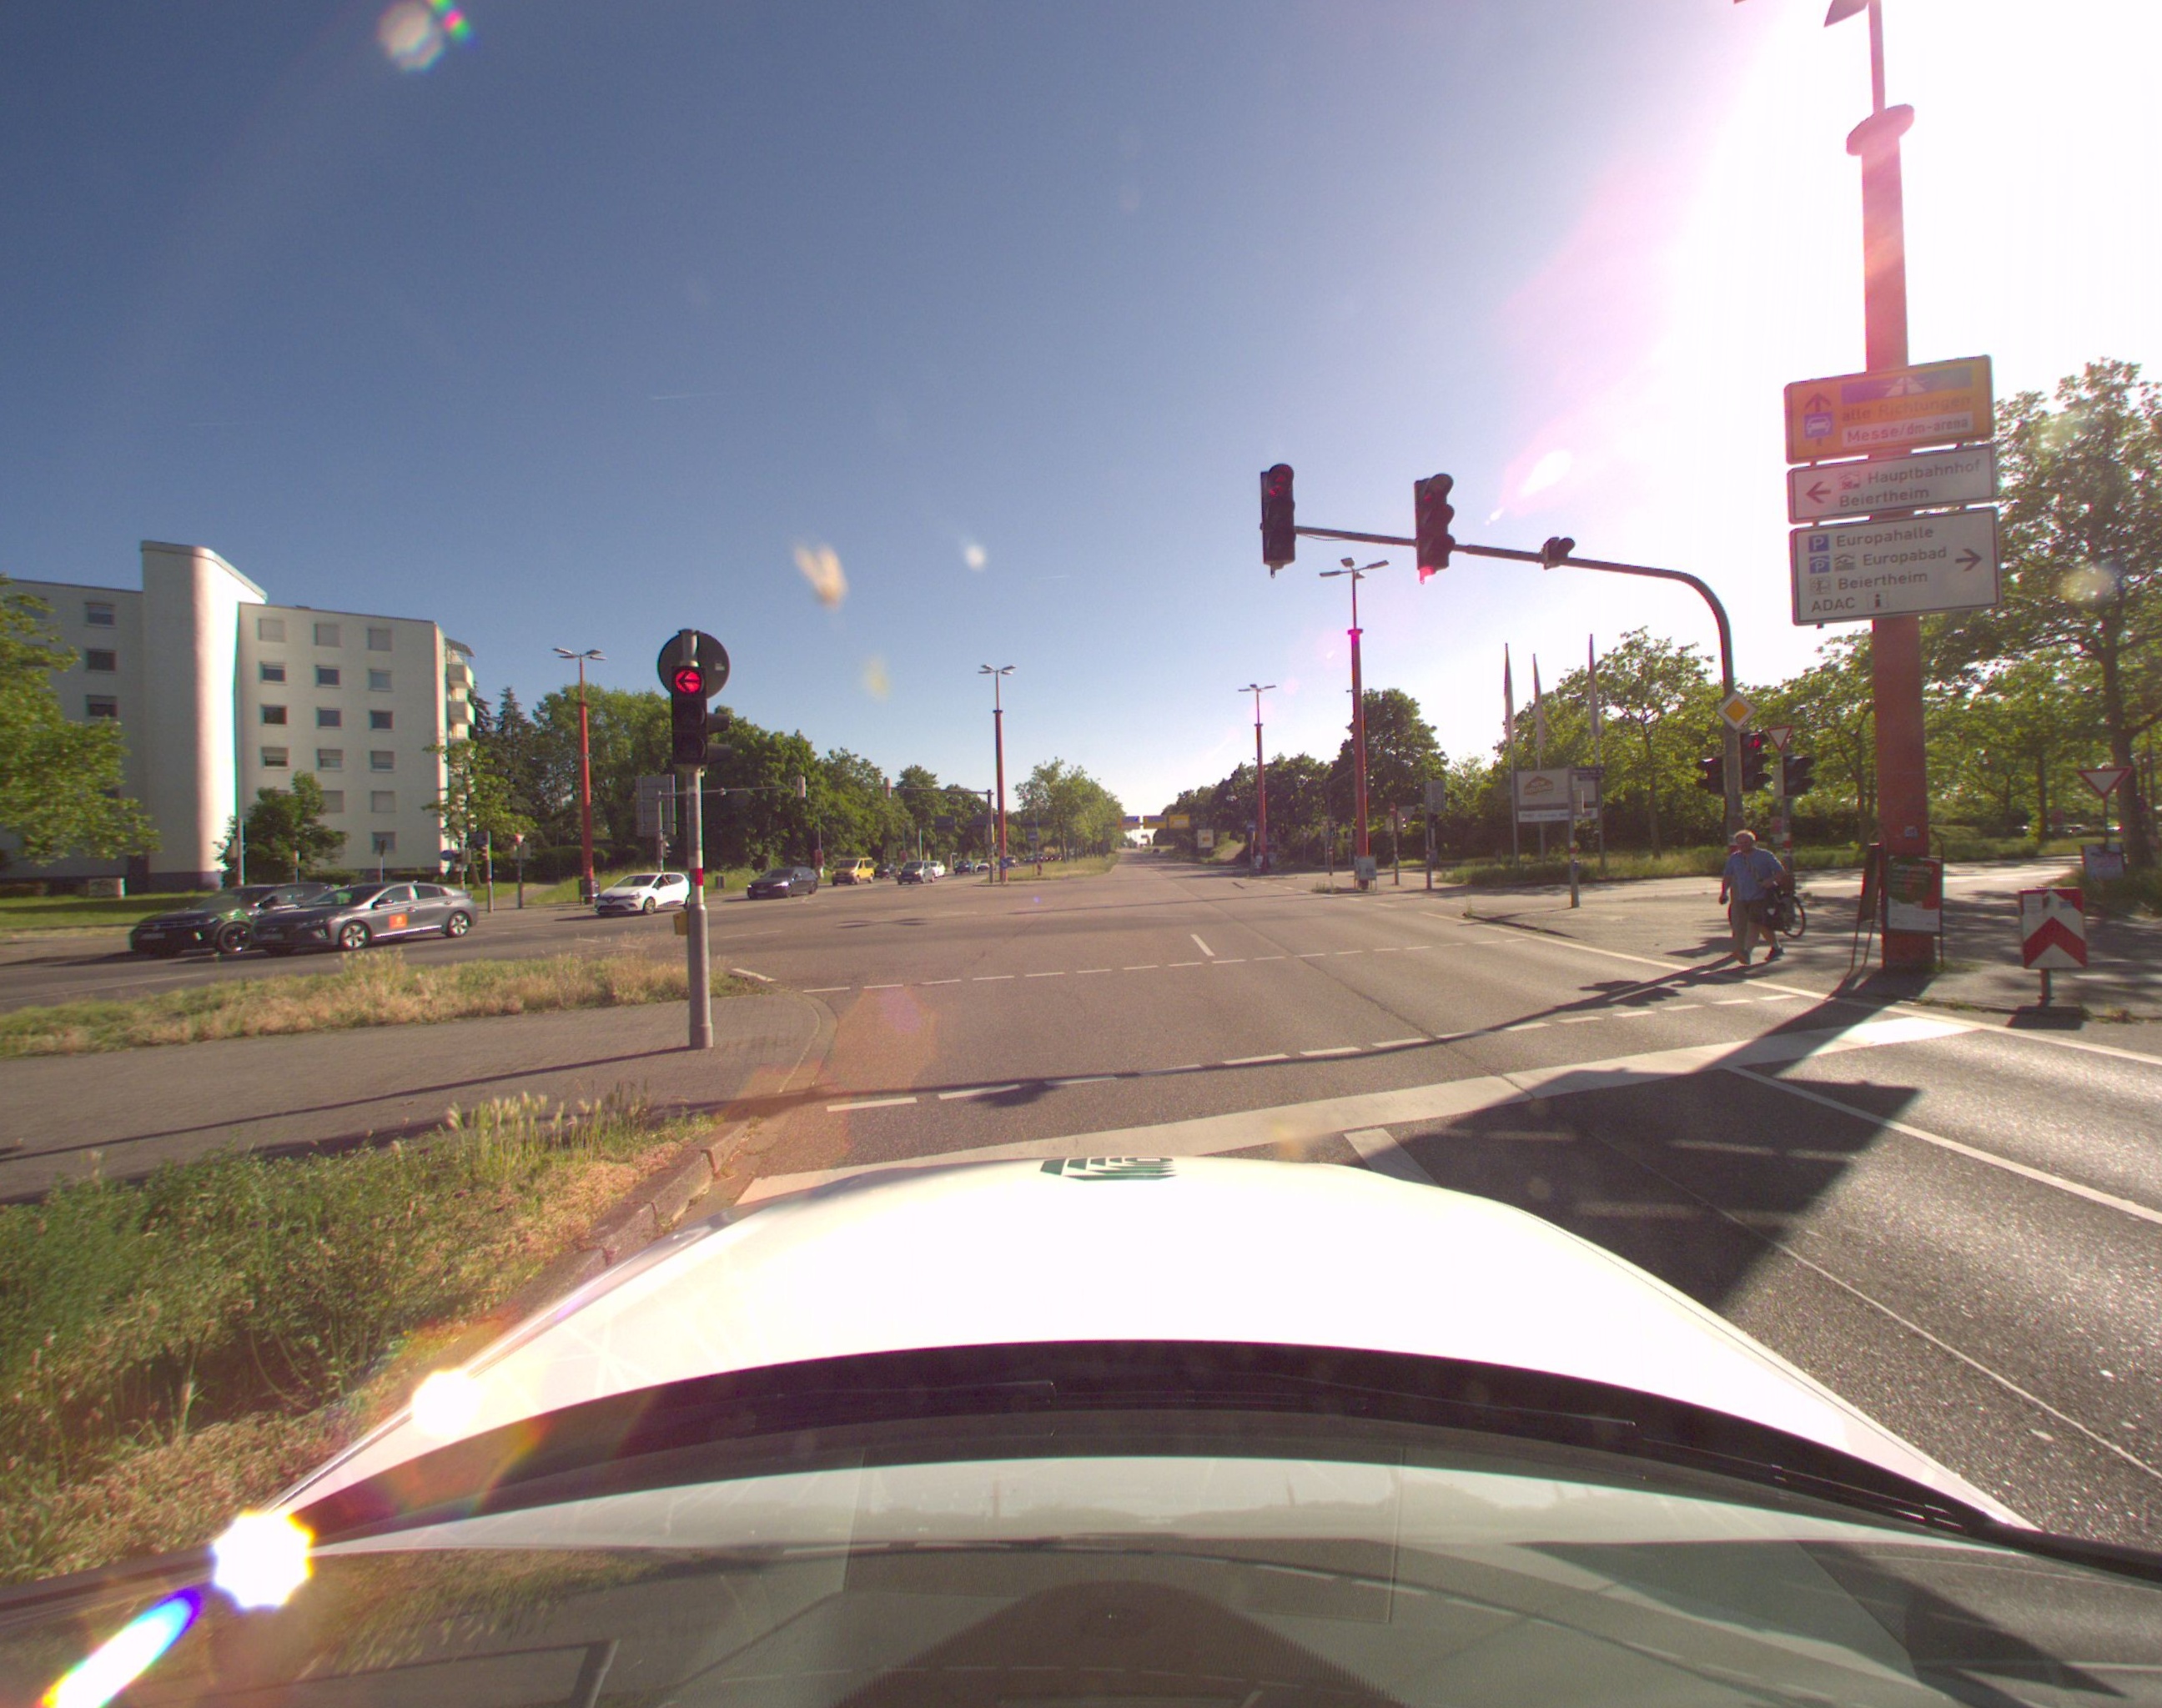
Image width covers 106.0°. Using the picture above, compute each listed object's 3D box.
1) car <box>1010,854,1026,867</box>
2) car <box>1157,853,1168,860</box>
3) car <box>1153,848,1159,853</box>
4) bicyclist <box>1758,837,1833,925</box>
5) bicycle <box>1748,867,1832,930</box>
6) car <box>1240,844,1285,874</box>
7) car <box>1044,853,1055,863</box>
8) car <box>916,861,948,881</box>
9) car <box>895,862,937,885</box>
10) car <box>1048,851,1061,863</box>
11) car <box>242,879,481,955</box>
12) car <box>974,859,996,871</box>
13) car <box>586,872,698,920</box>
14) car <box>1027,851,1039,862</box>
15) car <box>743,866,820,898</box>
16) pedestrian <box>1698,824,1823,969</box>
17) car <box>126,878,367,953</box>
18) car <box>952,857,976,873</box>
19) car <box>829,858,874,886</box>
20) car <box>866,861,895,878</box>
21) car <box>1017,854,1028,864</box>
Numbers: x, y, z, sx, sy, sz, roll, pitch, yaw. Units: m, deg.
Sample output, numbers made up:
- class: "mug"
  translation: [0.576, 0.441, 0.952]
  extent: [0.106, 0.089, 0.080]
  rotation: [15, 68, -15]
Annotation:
- class: "car"
  translation: [-8.971, 0.914, 116.207]
  extent: [1.618, 1.739, 4.004]
  rotation: [-2, 0, 4]
- class: "car"
  translation: [17.805, 0.489, 177.095]
  extent: [2.047, 1.371, 4.393]
  rotation: [-2, 0, 2]
- class: "car"
  translation: [21.756, -0.981, 236.001]
  extent: [1.730, 1.341, 3.084]
  rotation: [-2, 0, 3]
- class: "bicyclist"
  translation: [11.409, 0.420, 13.014]
  extent: [0.745, 1.341, 0.700]
  rotation: [-1, 0, -33]
- class: "bicycle"
  translation: [11.321, 0.676, 12.974]
  extent: [2.179, 0.878, 0.553]
  rotation: [-2, 0, -37]
- class: "car"
  translation: [12.033, 0.302, 53.726]
  extent: [1.975, 1.887, 4.023]
  rotation: [-2, 0, 25]
- class: "car"
  translation: [-6.343, 0.882, 165.629]
  extent: [1.997, 1.925, 4.000]
  rotation: [-1, -1, 0]
- class: "car"
  translation: [-12.800, 1.441, 70.278]
  extent: [1.696, 1.596, 4.005]
  rotation: [-1, -1, 4]
- class: "car"
  translation: [-10.593, 1.234, 52.544]
  extent: [1.693, 1.421, 4.003]
  rotation: [1, -1, 3]
- class: "car"
  translation: [-4.276, 0.499, 130.673]
  extent: [1.649, 1.747, 4.005]
  rotation: [-1, -1, 4]
- class: "car"
  translation: [-16.233, 1.356, 18.727]
  extent: [1.542, 1.377, 4.265]
  rotation: [-2, 0, 3]
- class: "car"
  translation: [-11.478, 1.302, 97.603]
  extent: [1.997, 1.308, 4.000]
  rotation: [-2, 0, 0]
- class: "car"
  translation: [-15.417, 1.417, 28.869]
  extent: [1.598, 1.459, 3.954]
  rotation: [-2, 0, 4]
- class: "car"
  translation: [-8.764, 0.529, 149.380]
  extent: [1.997, 2.014, 4.000]
  rotation: [-1, -1, 0]
- class: "car"
  translation: [-14.307, 1.302, 39.225]
  extent: [1.621, 1.368, 4.801]
  rotation: [-2, 0, 4]
- class: "pedestrian"
  translation: [8.888, 0.524, 10.677]
  extent: [0.894, 1.788, 0.894]
  rotation: [-1, 0, -20]
- class: "car"
  translation: [-19.542, 1.376, 19.340]
  extent: [1.537, 1.433, 3.889]
  rotation: [-3, -1, 3]
- class: "car"
  translation: [-12.108, 1.118, 84.691]
  extent: [1.696, 1.558, 3.807]
  rotation: [-1, -1, 4]
- class: "car"
  translation: [-17.030, 1.322, 60.738]
  extent: [1.750, 1.987, 4.793]
  rotation: [-1, -1, 3]
- class: "car"
  translation: [-19.558, 1.489, 79.467]
  extent: [1.989, 1.638, 3.995]
  rotation: [-1, -1, -3]
- class: "car"
  translation: [-11.859, 0.968, 165.664]
  extent: [1.997, 2.014, 4.000]
  rotation: [-1, -1, 0]
